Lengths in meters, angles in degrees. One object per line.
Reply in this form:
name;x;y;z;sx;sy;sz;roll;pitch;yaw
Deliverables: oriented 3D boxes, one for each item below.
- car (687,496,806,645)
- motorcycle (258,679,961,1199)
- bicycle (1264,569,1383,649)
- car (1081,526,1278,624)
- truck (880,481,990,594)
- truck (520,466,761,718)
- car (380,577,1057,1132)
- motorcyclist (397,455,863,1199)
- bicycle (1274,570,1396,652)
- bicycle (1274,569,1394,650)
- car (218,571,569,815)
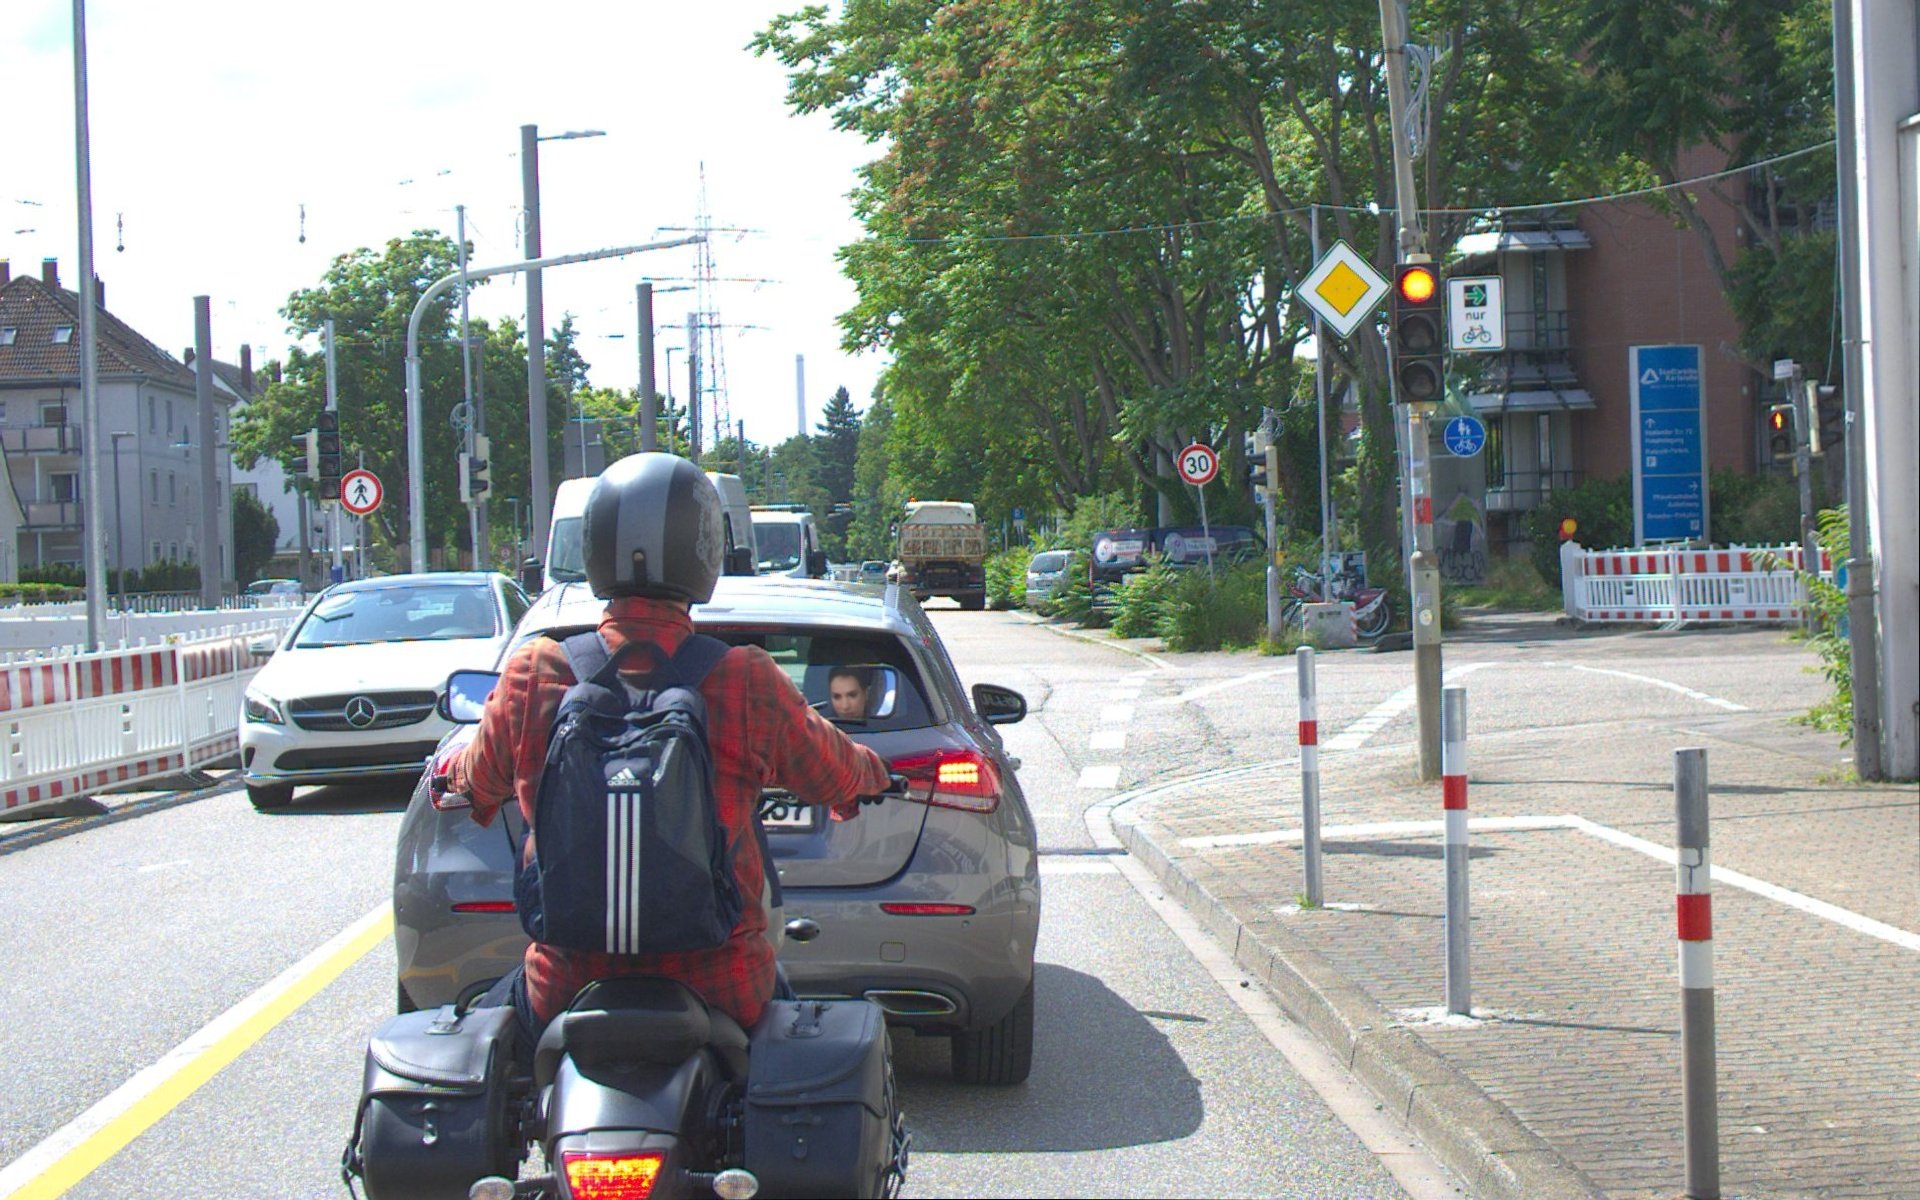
car;-3.150;-0.429;51.250;1.589;2.135;3.627;0;0;-1
motorcycle;-0.503;0.782;5.871;0.942;1.196;2.473;0;1;-1
bicycle;5.322;0.130;50.388;1.708;1.168;0.438;0;0;4
car;4.460;-0.500;69.493;1.802;1.919;3.990;0;0;44
truck;-0.659;-1.752;99.961;2.967;3.162;7.763;0;0;1
truck;-3.418;-0.177;37.781;2.093;2.468;5.196;-3;2;-1
car;-0.825;0.646;10.920;1.731;1.399;4.087;1;1;-6
motorcyclist;-0.509;0.581;5.549;0.698;1.599;0.692;0;0;-1
bicycle;5.371;0.159;49.291;1.708;1.168;0.438;0;0;4
bicycle;5.418;0.132;49.853;1.708;1.168;0.438;0;0;4
car;-3.730;0.567;23.279;1.744;1.432;4.084;-2;0;-1
